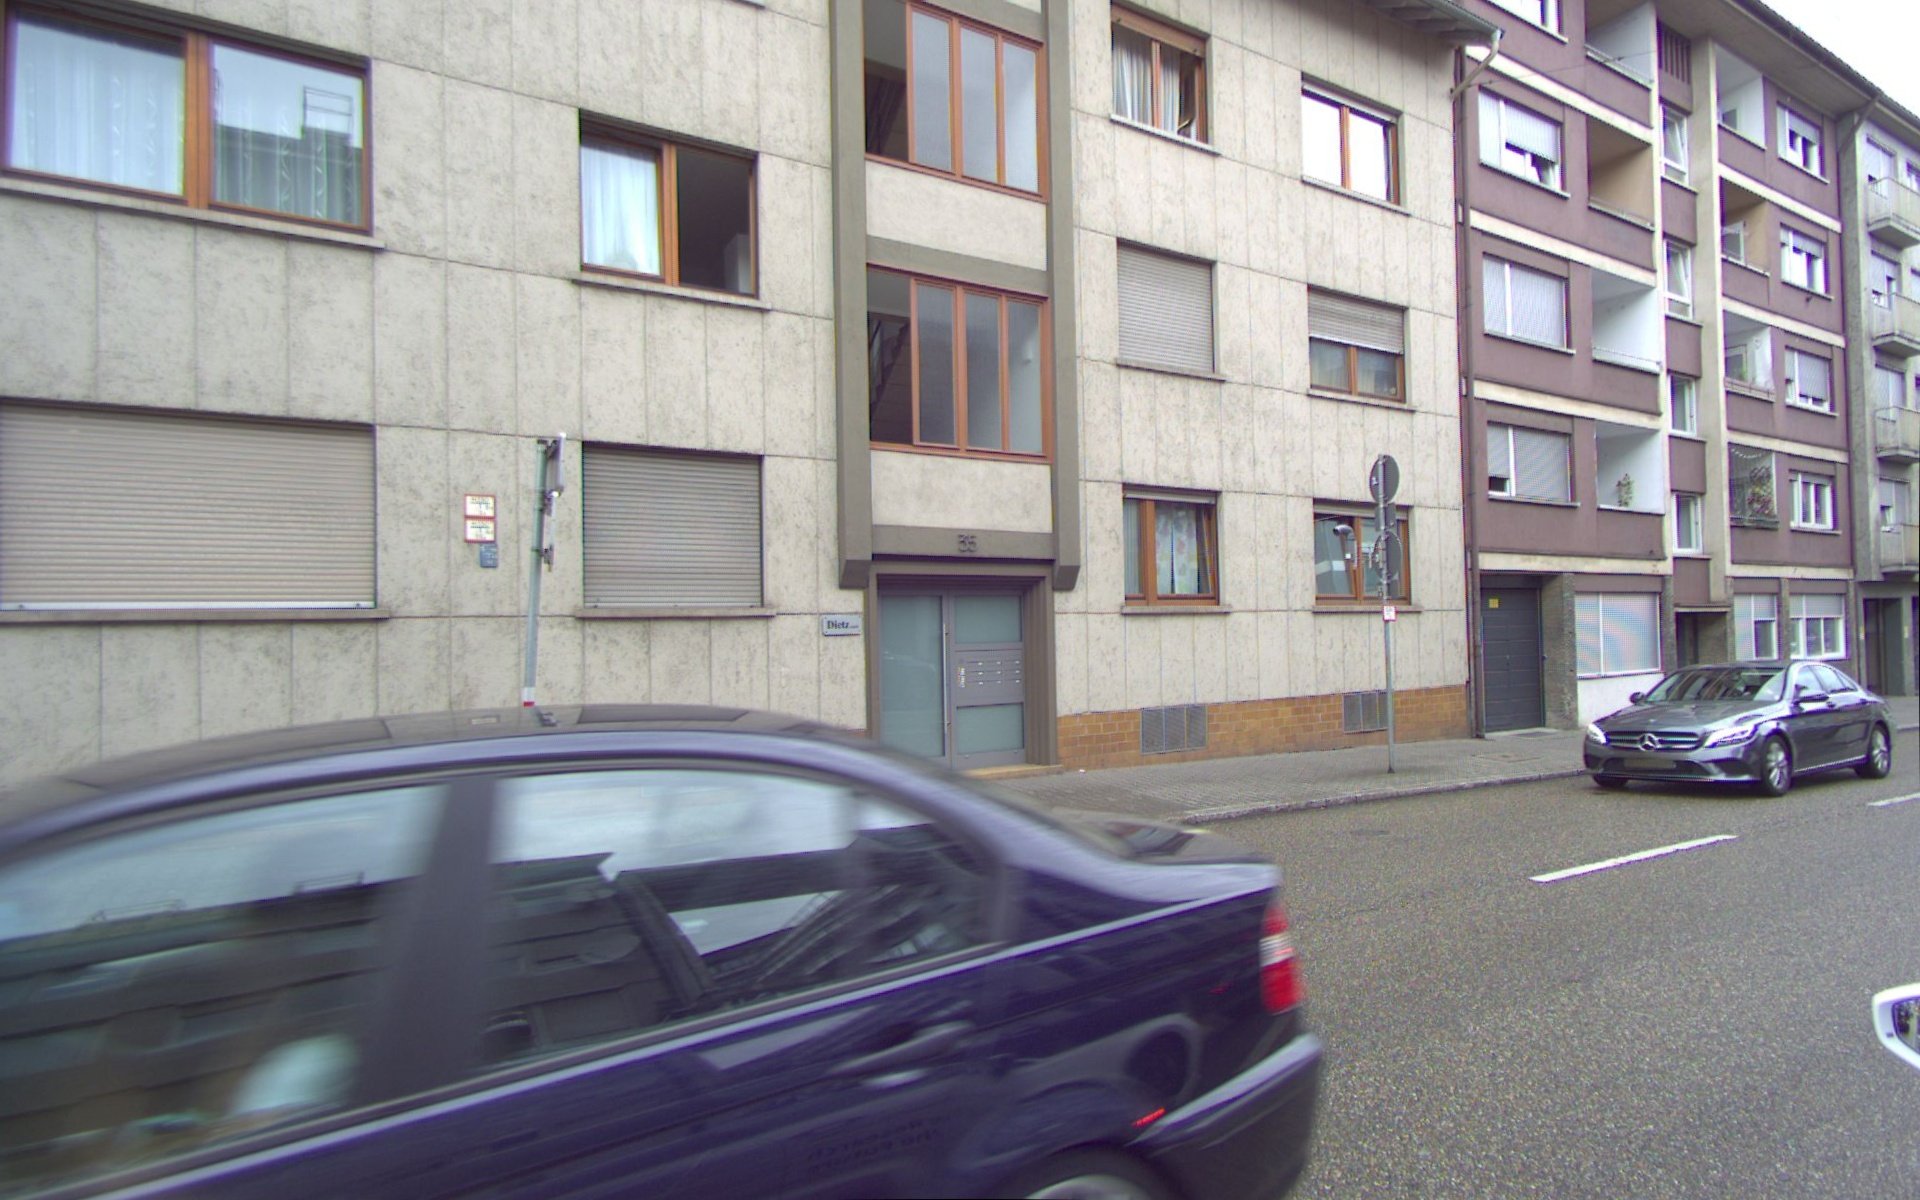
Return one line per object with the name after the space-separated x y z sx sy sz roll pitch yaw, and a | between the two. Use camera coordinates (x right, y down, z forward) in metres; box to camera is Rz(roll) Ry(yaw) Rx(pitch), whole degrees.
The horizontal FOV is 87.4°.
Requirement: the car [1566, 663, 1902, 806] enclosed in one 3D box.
9.192 1.472 11.845 4.318 1.388 1.686 2 -5 -32 | car

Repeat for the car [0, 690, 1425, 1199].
-1.264 0.887 1.762 4.168 1.388 1.688 2 -5 -30 | car
